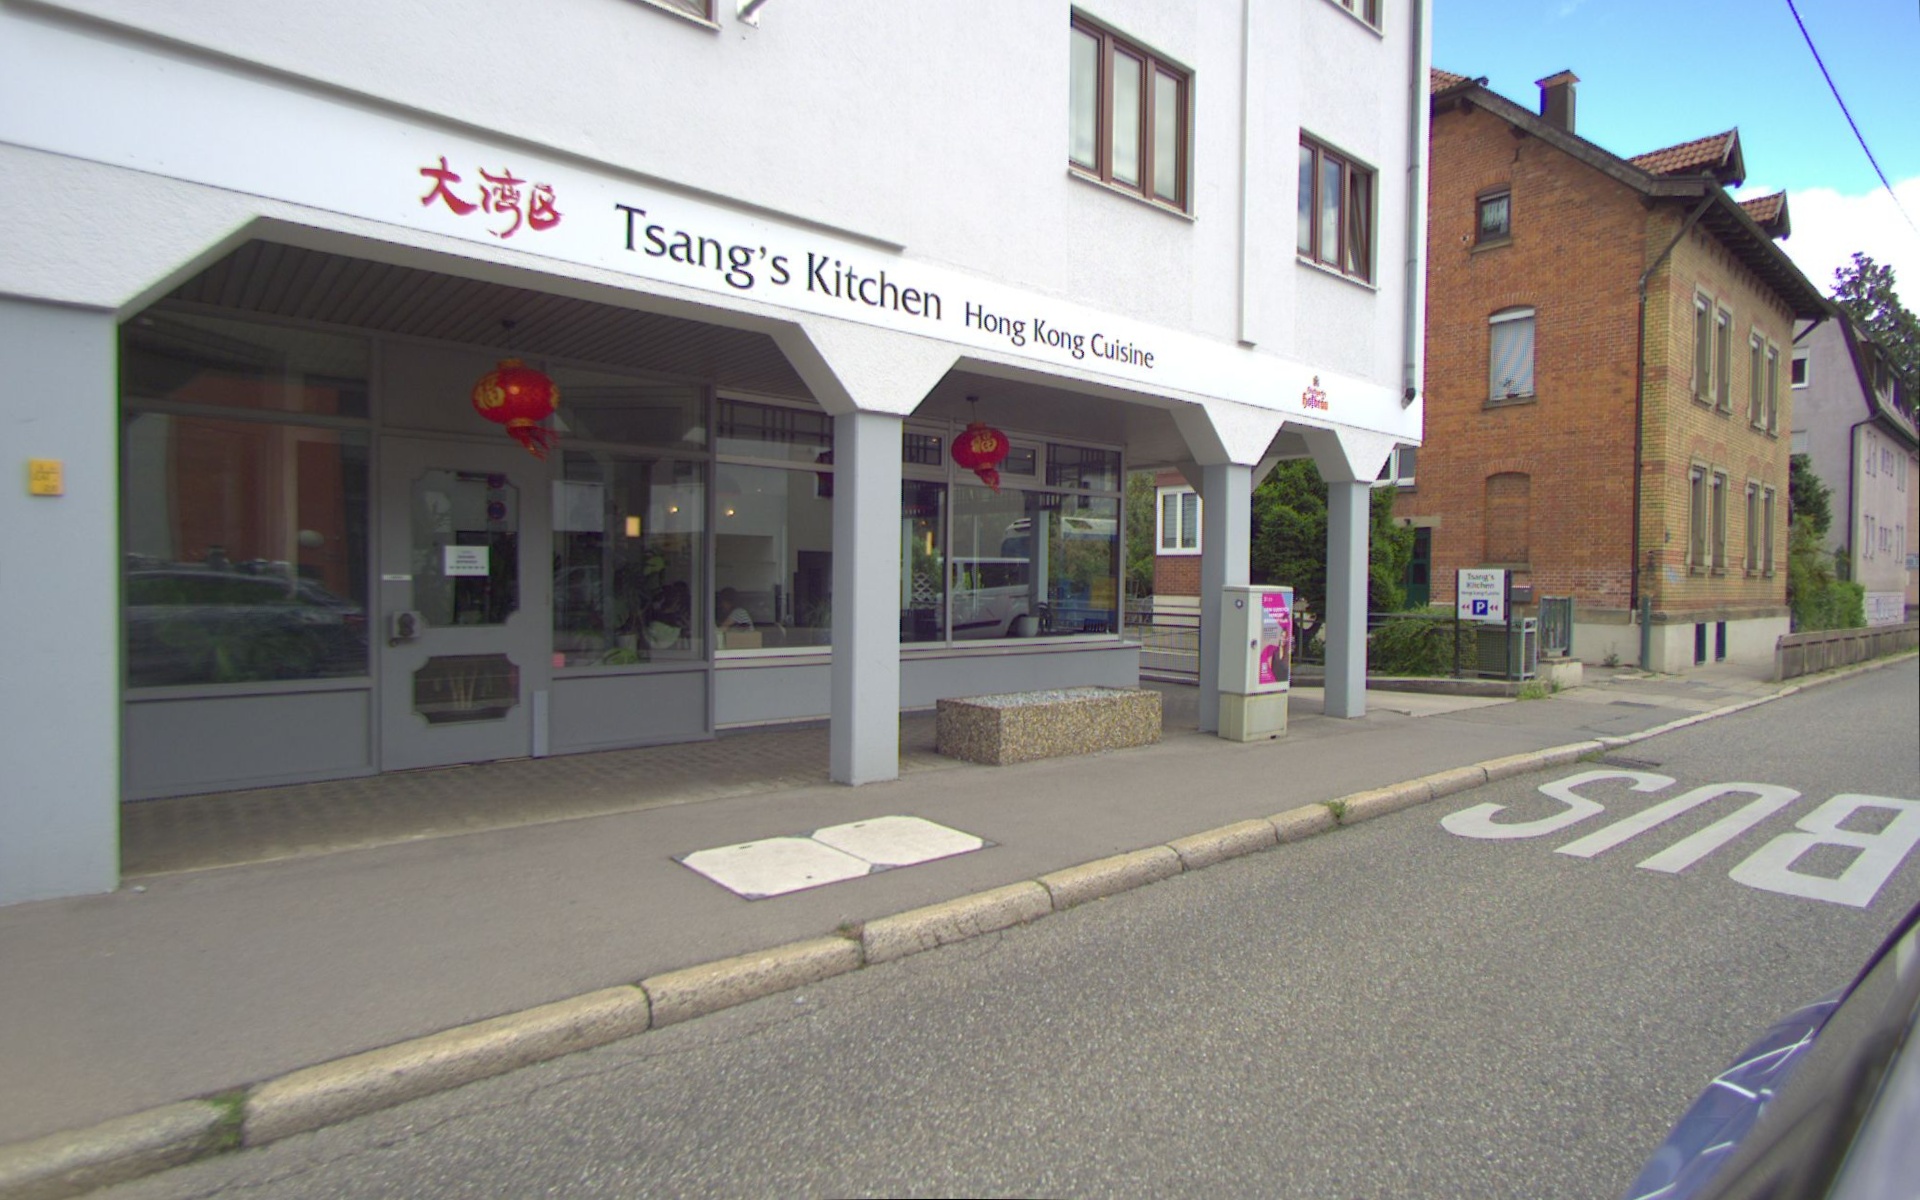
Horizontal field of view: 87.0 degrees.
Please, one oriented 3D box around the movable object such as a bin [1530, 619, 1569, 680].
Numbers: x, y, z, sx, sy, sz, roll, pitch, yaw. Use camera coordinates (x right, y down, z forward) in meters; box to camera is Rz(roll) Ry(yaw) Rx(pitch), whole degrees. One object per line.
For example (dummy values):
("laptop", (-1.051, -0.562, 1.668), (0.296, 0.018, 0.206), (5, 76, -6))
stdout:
("movable object such as a bin", (9.204, 0.761, 15.807), (0.448, 0.915, 0.398), (0, 1, -40))
